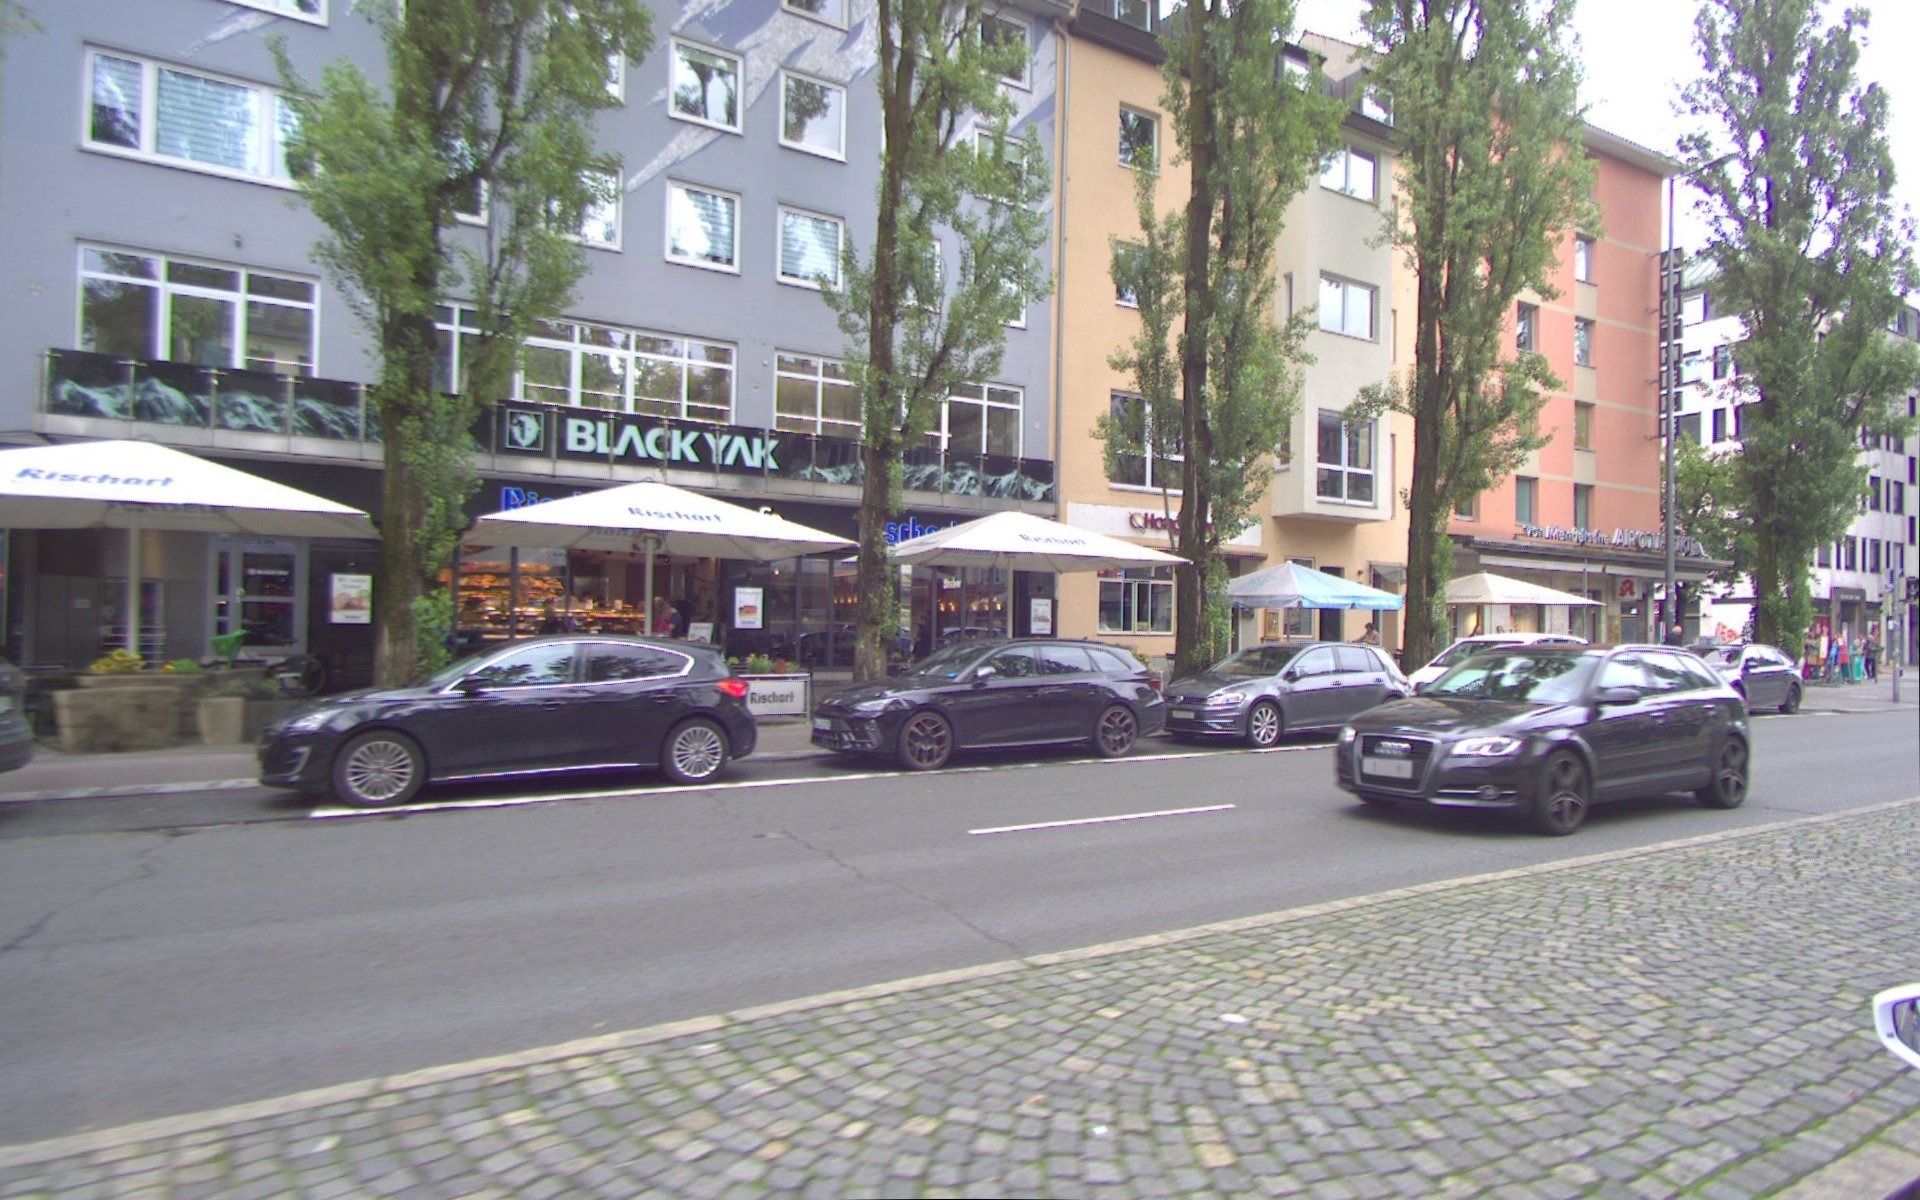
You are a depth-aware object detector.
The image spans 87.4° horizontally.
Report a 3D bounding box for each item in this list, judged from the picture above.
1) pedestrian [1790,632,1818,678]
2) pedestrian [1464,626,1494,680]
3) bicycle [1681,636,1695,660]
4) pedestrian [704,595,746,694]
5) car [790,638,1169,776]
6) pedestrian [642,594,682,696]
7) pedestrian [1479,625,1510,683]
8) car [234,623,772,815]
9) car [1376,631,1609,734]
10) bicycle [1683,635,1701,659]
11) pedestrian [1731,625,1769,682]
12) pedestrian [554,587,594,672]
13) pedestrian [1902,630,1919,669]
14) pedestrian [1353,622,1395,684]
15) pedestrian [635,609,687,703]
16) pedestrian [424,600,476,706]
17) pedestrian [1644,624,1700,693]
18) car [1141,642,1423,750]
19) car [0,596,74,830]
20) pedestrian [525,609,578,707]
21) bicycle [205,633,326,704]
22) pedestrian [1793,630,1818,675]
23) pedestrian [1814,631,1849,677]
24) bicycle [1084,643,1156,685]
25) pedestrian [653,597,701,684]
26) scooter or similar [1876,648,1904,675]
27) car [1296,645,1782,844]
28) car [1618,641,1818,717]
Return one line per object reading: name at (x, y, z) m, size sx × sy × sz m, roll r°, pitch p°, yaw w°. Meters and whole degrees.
pedestrian at (31.810, 2.060, 37.876) m, size 0.512 × 1.711 × 0.627 m, roll 2°, pitch 0°, yaw -28°
pedestrian at (16.059, 1.631, 31.070) m, size 0.684 × 1.660 × 0.552 m, roll 1°, pitch -1°, yaw -30°
bicycle at (36.435, 2.400, 50.265) m, size 0.410 × 1.199 × 1.999 m, roll 0°, pitch -2°, yaw 41°
pedestrian at (-5.432, 1.014, 23.203) m, size 0.723 × 2.241 × 0.777 m, roll 1°, pitch -1°, yaw -30°
car at (0.311, 1.207, 12.224) m, size 4.381 × 1.431 × 1.696 m, roll 2°, pitch -3°, yaw -30°
pedestrian at (-6.704, 0.999, 22.562) m, size 0.684 × 2.241 × 0.777 m, roll 1°, pitch -1°, yaw -30°
pedestrian at (16.151, 1.625, 30.376) m, size 0.684 × 1.740 × 0.552 m, roll 1°, pitch -1°, yaw -30°
car at (-4.152, 1.021, 9.607) m, size 4.319 × 1.485 × 1.669 m, roll 2°, pitch -3°, yaw -31°
car at (9.292, 1.383, 17.473) m, size 4.047 × 1.604 × 1.696 m, roll 2°, pitch -3°, yaw -30°
bicycle at (37.440, 2.386, 51.351) m, size 0.444 × 1.199 × 2.050 m, roll 0°, pitch -2°, yaw 45°
pedestrian at (25.395, 1.711, 32.282) m, size 0.768 × 1.794 × 0.721 m, roll 1°, pitch -1°, yaw -28°
pedestrian at (-8.549, 0.648, 22.220) m, size 0.733 × 1.828 × 0.778 m, roll 1°, pitch -1°, yaw -27°
pedestrian at (45.771, 2.383, 48.030) m, size 0.901 × 1.811 × 0.796 m, roll 1°, pitch 0°, yaw -29°
pedestrian at (11.652, 1.481, 28.268) m, size 0.793 × 1.690 × 0.777 m, roll 1°, pitch -1°, yaw -30°
pedestrian at (-5.317, 0.982, 17.869) m, size 0.746 × 1.623 × 0.738 m, roll 1°, pitch -1°, yaw -27°
pedestrian at (-8.826, 0.896, 17.373) m, size 0.746 × 1.778 × 0.737 m, roll 1°, pitch -1°, yaw -29°
pedestrian at (19.507, 1.591, 27.526) m, size 0.975 × 1.819 × 0.736 m, roll 2°, pitch 0°, yaw -11°
car at (4.755, 1.343, 14.686) m, size 4.134 × 1.399 × 1.488 m, roll 2°, pitch -3°, yaw -28°
car at (-9.242, 0.777, 6.770) m, size 4.529 × 1.702 × 1.773 m, roll 2°, pitch -3°, yaw -28°
pedestrian at (-6.996, 0.978, 17.197) m, size 0.734 × 1.623 × 0.750 m, roll 1°, pitch -1°, yaw -30°
bicycle at (-11.378, 1.100, 16.474) m, size 1.569 × 1.111 × 0.611 m, roll 2°, pitch -2°, yaw -41°
pedestrian at (32.259, 1.999, 38.339) m, size 0.508 × 1.713 × 0.584 m, roll 1°, pitch -1°, yaw -29°
pedestrian at (34.364, 2.138, 39.612) m, size 0.931 × 1.763 × 0.723 m, roll 2°, pitch 0°, yaw -30°
bicycle at (4.065, 1.609, 25.413) m, size 1.932 × 1.015 × 0.440 m, roll 1°, pitch -1°, yaw -28°
pedestrian at (-5.513, 0.783, 19.546) m, size 0.746 × 1.662 × 0.738 m, roll 1°, pitch -1°, yaw -27°
scooter or similar at (39.885, 2.617, 43.086) m, size 0.271 × 1.107 × 0.809 m, roll 2°, pitch 0°, yaw -32°
car at (5.126, 1.099, 8.817) m, size 4.126 × 1.379 × 1.829 m, roll 2°, pitch -4°, yaw -29°
car at (15.948, 1.620, 21.096) m, size 4.535 × 1.457 × 1.696 m, roll 2°, pitch -3°, yaw -30°
